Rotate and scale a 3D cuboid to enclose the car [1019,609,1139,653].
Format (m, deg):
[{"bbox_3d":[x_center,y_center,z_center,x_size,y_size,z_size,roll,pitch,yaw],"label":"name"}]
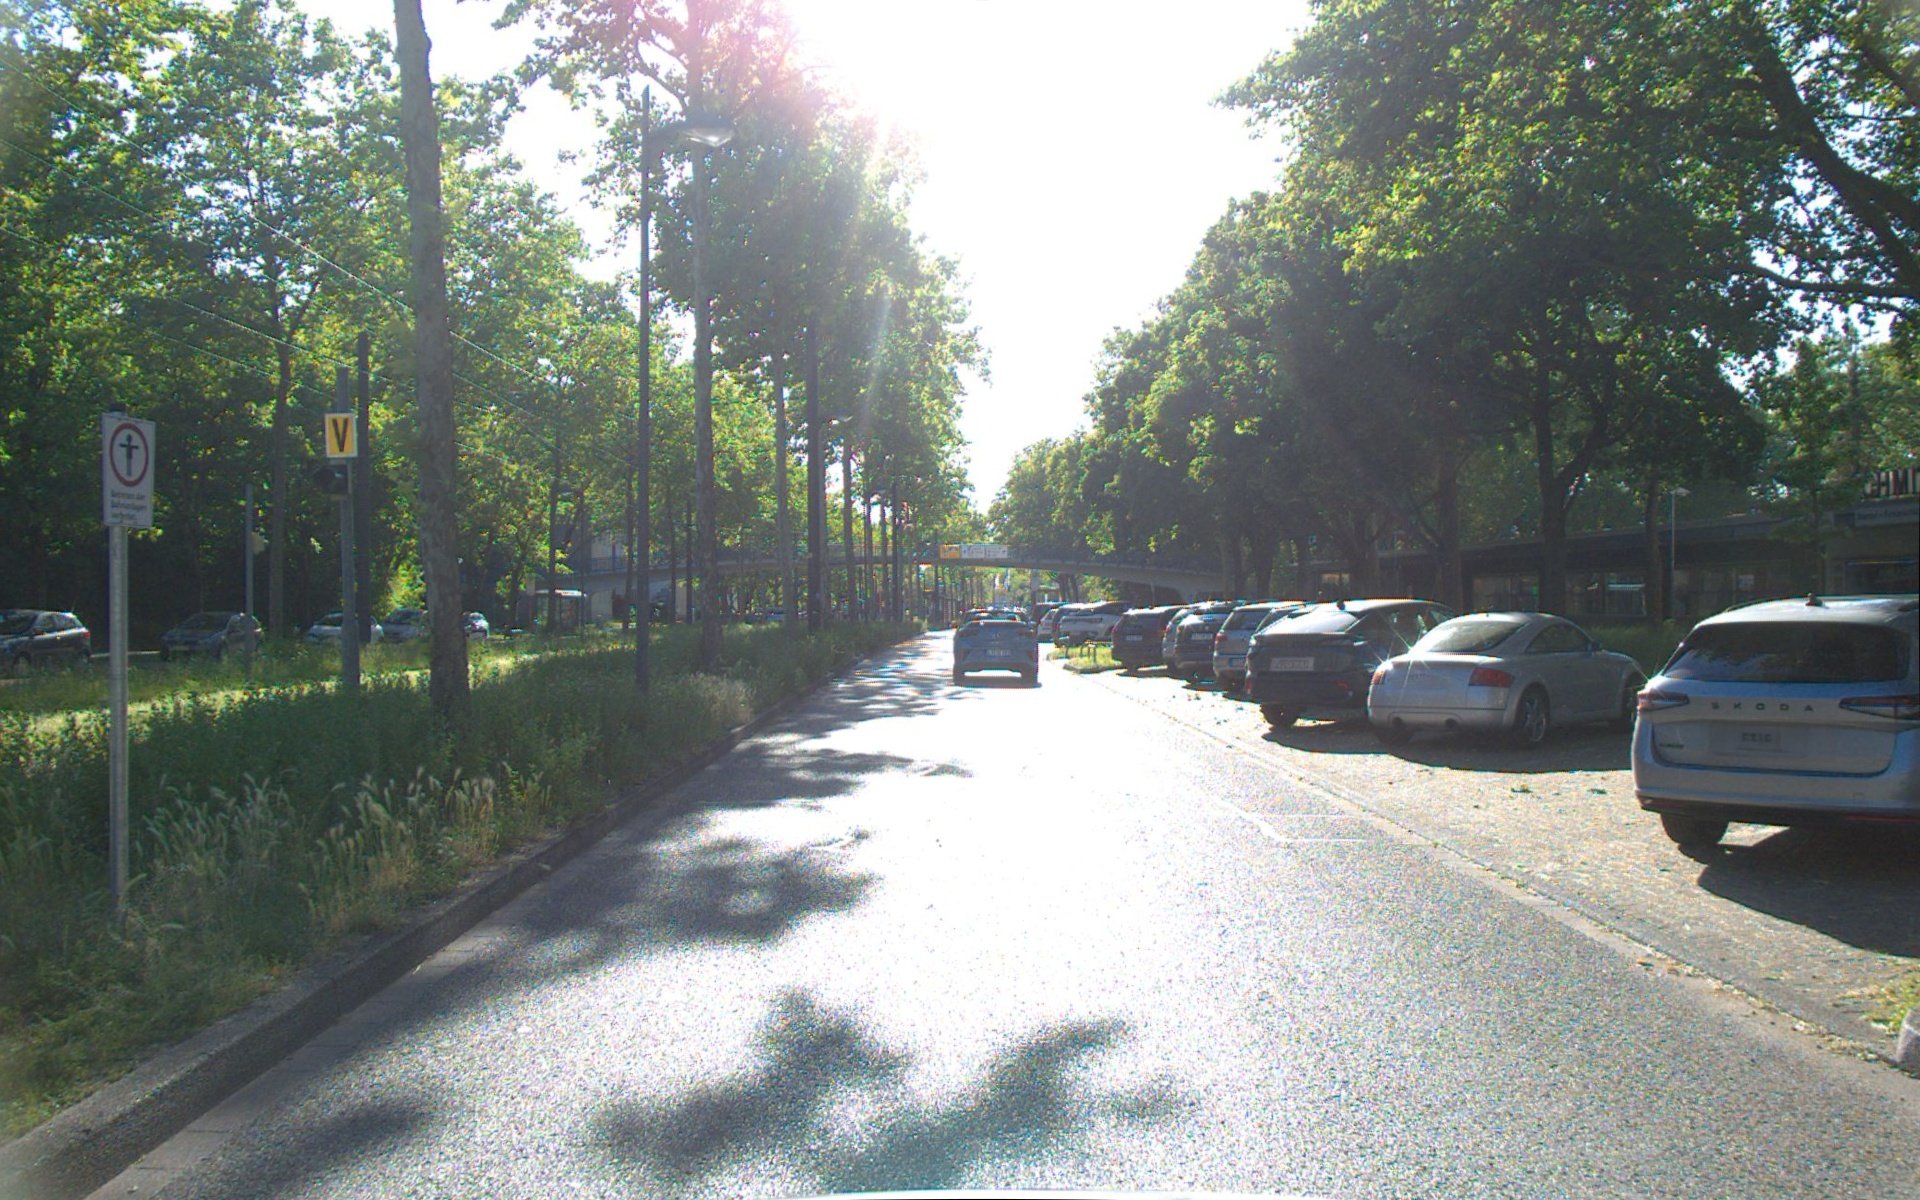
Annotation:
[{"bbox_3d":[4.447,1.120,61.274,4.587,1.548,1.827,0,0,-43],"label":"car"}]

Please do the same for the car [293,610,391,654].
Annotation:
[{"bbox_3d":[-22.515,1.145,60.439,1.952,1.478,4.000,2,0,1],"label":"car"}]

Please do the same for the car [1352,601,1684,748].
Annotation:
[{"bbox_3d":[6.166,0.736,18.004,4.297,1.320,1.664,-2,0,-45],"label":"car"}]

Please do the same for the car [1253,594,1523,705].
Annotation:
[{"bbox_3d":[6.568,0.722,25.136,4.426,1.475,1.890,-1,-2,-43],"label":"car"}]

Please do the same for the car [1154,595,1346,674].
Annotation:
[{"bbox_3d":[6.390,0.717,36.106,4.590,1.597,1.826,0,-1,-45],"label":"car"}]

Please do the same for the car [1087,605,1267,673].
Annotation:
[{"bbox_3d":[5.184,0.889,39.111,1.945,1.485,4.595,-1,-1,43],"label":"car"}]

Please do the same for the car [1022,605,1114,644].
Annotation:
[{"bbox_3d":[5.255,1.168,79.923,4.587,1.799,1.827,1,-1,-43],"label":"car"}]

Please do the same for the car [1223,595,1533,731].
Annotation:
[{"bbox_3d":[5.353,0.726,20.879,4.297,1.449,1.826,-2,0,-45],"label":"car"}]

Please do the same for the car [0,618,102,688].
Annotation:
[{"bbox_3d":[-22.209,1.210,39.116,1.834,1.478,3.575,2,0,1],"label":"car"}]

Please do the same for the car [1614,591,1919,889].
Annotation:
[{"bbox_3d":[6.012,0.704,10.477,4.461,1.469,1.826,-2,0,-45],"label":"car"}]

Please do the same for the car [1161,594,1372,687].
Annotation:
[{"bbox_3d":[6.044,0.747,32.285,1.825,1.597,4.593,-2,0,44],"label":"car"}]

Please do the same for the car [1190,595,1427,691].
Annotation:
[{"bbox_3d":[6.056,0.715,28.462,1.888,1.475,4.430,-3,-2,44],"label":"car"}]

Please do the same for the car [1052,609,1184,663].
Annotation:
[{"bbox_3d":[5.267,1.176,54.848,4.587,1.710,1.827,1,-1,-43],"label":"car"}]

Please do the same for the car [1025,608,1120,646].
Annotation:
[{"bbox_3d":[5.243,1.235,76.786,4.587,1.710,1.827,1,-1,-43],"label":"car"}]

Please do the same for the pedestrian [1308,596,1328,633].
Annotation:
[{"bbox_3d":[19.951,0.816,92.091,0.814,2.049,0.739,0,-1,-41],"label":"pedestrian"}]

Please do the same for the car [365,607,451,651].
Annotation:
[{"bbox_3d":[-22.391,1.149,67.240,1.952,1.617,4.168,2,0,1],"label":"car"}]

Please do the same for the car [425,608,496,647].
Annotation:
[{"bbox_3d":[-22.026,1.192,73.098,1.750,1.617,4.168,2,0,1],"label":"car"}]

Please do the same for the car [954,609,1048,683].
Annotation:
[{"bbox_3d":[0.832,0.944,35.326,1.882,1.436,4.000,0,0,0],"label":"car"}]

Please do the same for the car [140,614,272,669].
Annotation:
[{"bbox_3d":[-22.398,1.195,49.303,1.952,1.478,4.000,2,0,1],"label":"car"}]
